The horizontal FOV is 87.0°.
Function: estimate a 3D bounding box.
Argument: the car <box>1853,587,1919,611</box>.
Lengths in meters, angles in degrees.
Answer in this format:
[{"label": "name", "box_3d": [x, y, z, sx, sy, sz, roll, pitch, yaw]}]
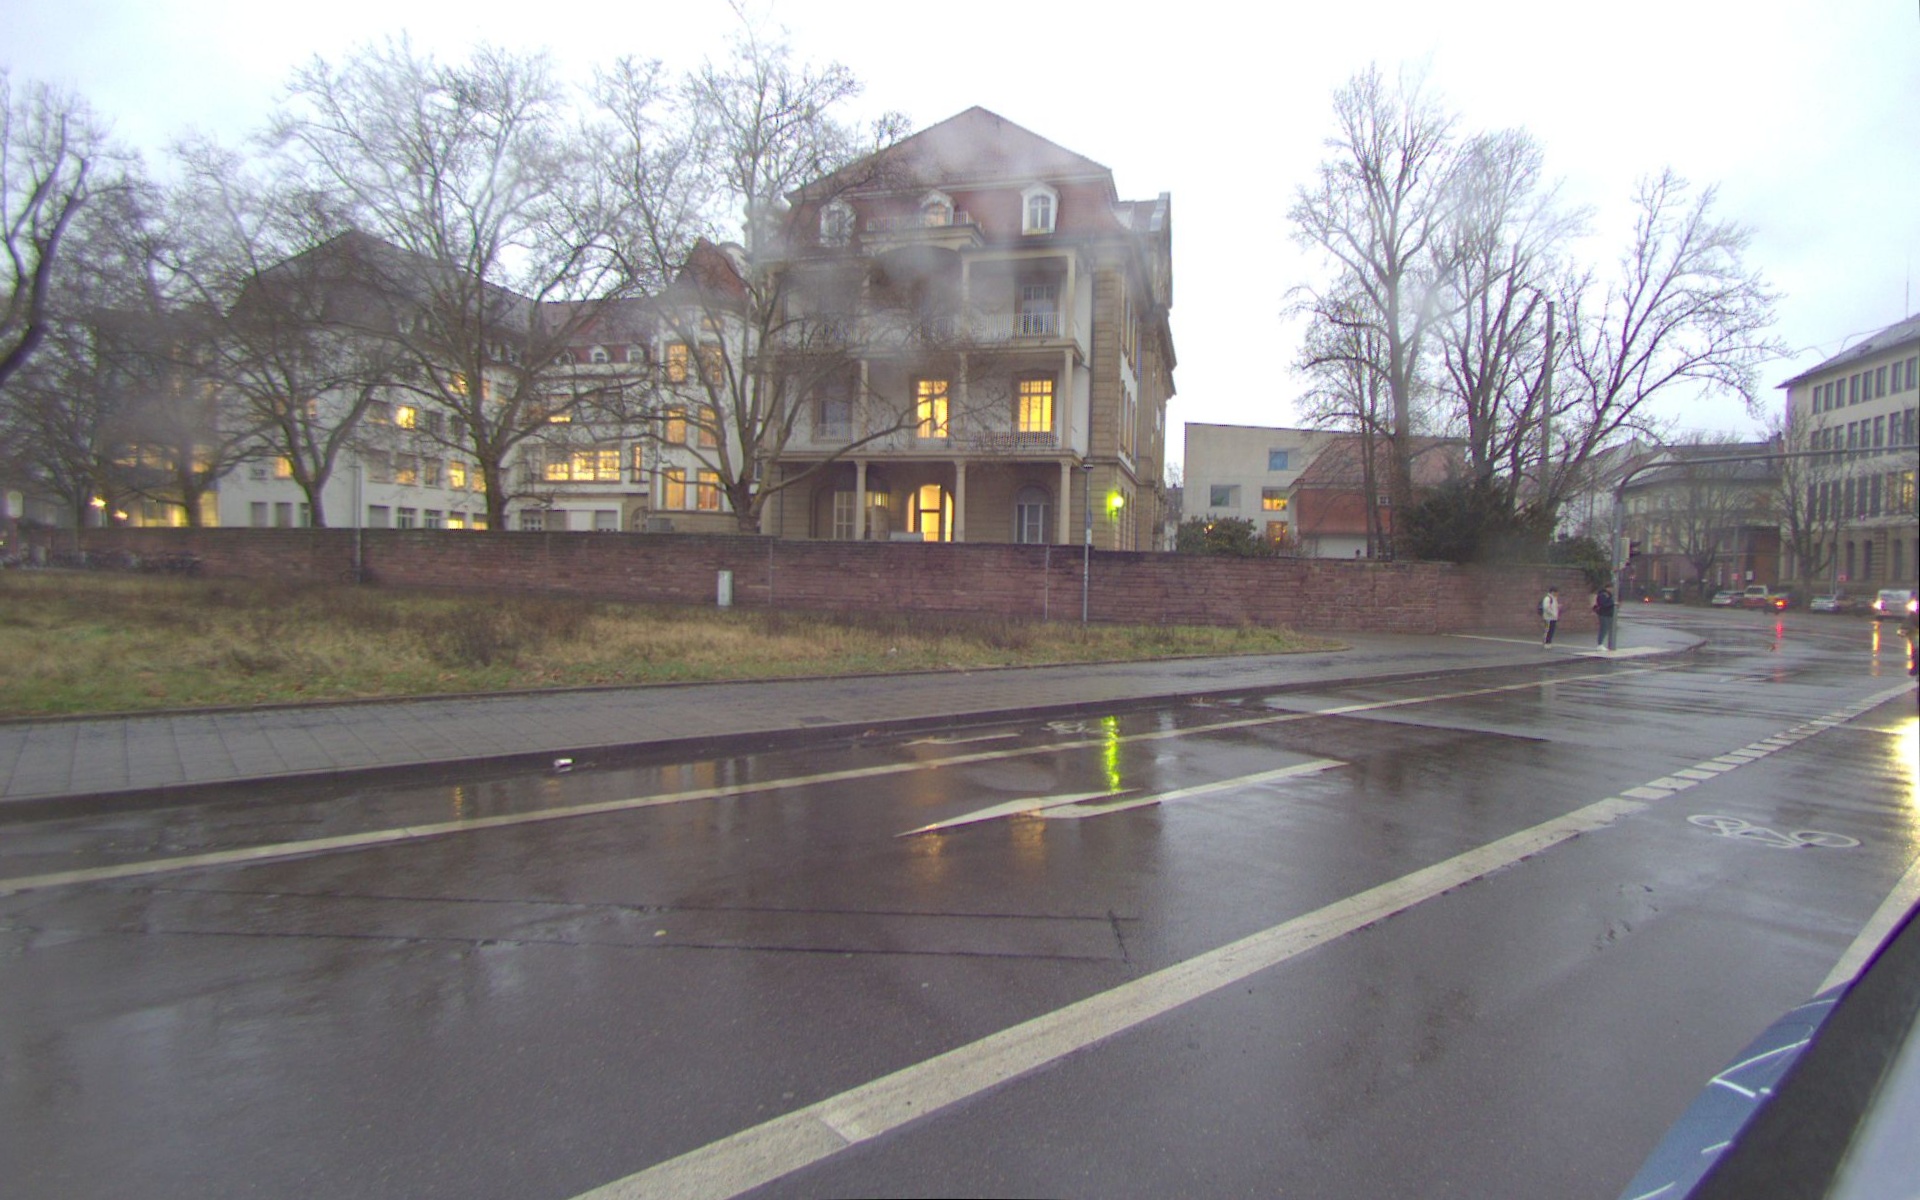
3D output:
[{"label": "car", "box_3d": [61.960, -0.054, 67.014, 3.927, 1.570, 1.800, 0, 0, 4]}]

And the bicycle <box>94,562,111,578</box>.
[{"label": "bicycle", "box_3d": [-43.133, -1.497, 50.903, 1.522, 0.796, 0.389, 0, 0, 38]}]

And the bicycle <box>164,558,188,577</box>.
[{"label": "bicycle", "box_3d": [-35.552, -1.469, 45.867, 1.519, 0.796, 0.389, 0, 0, 33]}]

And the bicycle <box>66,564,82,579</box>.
[{"label": "bicycle", "box_3d": [-47.898, -1.540, 54.681, 1.522, 0.796, 0.389, 0, 0, 38]}]

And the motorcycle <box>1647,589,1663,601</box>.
[{"label": "motorcycle", "box_3d": [64.395, -0.459, 93.804, 0.717, 1.067, 2.152, 3, 2, 21]}]

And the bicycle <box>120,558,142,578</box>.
[{"label": "bicycle", "box_3d": [-39.911, -1.540, 48.729, 1.519, 0.928, 0.389, 0, 0, 33]}]

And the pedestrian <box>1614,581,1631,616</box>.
[{"label": "pedestrian", "box_3d": [32.708, -0.083, 49.969, 0.610, 1.674, 0.565, 3, 2, 29]}]

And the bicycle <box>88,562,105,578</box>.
[{"label": "bicycle", "box_3d": [-44.181, -1.531, 51.775, 1.522, 0.796, 0.389, 0, 0, 38]}]

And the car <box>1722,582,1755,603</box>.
[{"label": "car", "box_3d": [66.478, -0.638, 86.396, 1.992, 1.690, 3.940, 0, 1, 42]}]

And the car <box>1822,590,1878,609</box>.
[{"label": "car", "box_3d": [63.600, -0.075, 72.309, 3.568, 1.322, 1.712, -1, 0, -25]}]

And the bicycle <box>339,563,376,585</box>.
[{"label": "bicycle", "box_3d": [-23.386, -0.987, 39.278, 1.366, 0.835, 0.392, 0, 0, 14]}]

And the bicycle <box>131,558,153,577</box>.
[{"label": "bicycle", "box_3d": [-38.628, -1.508, 47.775, 1.519, 0.869, 0.389, 0, 0, 33]}]

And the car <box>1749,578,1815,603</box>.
[{"label": "car", "box_3d": [64.978, -0.785, 80.032, 3.916, 1.924, 2.052, 0, 0, -13]}]

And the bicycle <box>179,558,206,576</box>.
[{"label": "bicycle", "box_3d": [-34.212, -1.469, 45.117, 1.399, 0.796, 0.355, 0, 0, 26]}]

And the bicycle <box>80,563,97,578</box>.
[{"label": "bicycle", "box_3d": [-45.444, -1.534, 52.748, 1.522, 0.796, 0.389, 0, 0, 38]}]

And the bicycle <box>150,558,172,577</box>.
[{"label": "bicycle", "box_3d": [-37.033, -1.498, 46.892, 1.480, 0.849, 0.346, 0, 0, 32]}]

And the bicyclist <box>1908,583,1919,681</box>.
[{"label": "bicyclist", "box_3d": [14.893, 0.474, 15.240, 1.114, 1.471, 0.784, 0, 0, -41]}]

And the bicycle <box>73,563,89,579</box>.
[{"label": "bicycle", "box_3d": [-46.674, -1.537, 53.726, 1.522, 0.796, 0.389, 0, 0, 38]}]

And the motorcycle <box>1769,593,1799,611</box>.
[{"label": "motorcycle", "box_3d": [54.902, 0.128, 67.462, 0.703, 1.067, 2.158, 3, 2, 15]}]

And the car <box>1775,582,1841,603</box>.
[{"label": "car", "box_3d": [64.697, -0.579, 77.234, 3.916, 1.570, 1.805, 0, 0, -13]}]

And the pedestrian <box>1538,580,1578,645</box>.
[{"label": "pedestrian", "box_3d": [16.633, 0.336, 28.147, 0.795, 1.744, 0.665, 3, 3, 40]}]

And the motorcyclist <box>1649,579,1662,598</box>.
[{"label": "motorcyclist", "box_3d": [64.378, -1.089, 93.683, 0.702, 1.738, 0.736, 3, 2, 22]}]

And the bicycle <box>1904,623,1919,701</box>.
[{"label": "bicycle", "box_3d": [14.818, 0.918, 15.163, 1.923, 1.088, 0.784, -1, 0, -41]}]

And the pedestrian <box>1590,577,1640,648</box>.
[{"label": "pedestrian", "box_3d": [18.297, 0.326, 28.273, 0.996, 1.924, 0.664, 4, 3, 41]}]

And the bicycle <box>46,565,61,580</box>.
[{"label": "bicycle", "box_3d": [-51.611, -1.549, 57.600, 1.522, 0.796, 0.389, 0, 0, 38]}]

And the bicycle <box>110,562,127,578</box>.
[{"label": "bicycle", "box_3d": [-41.476, -1.477, 49.883, 1.599, 0.796, 0.388, 0, 0, 41]}]

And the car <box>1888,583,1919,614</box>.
[{"label": "car", "box_3d": [58.091, -0.119, 61.168, 3.920, 1.868, 1.886, -1, 0, -30]}]

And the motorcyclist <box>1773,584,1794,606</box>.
[{"label": "motorcyclist", "box_3d": [54.921, -0.360, 67.489, 0.691, 1.400, 0.863, 2, 2, 15]}]
